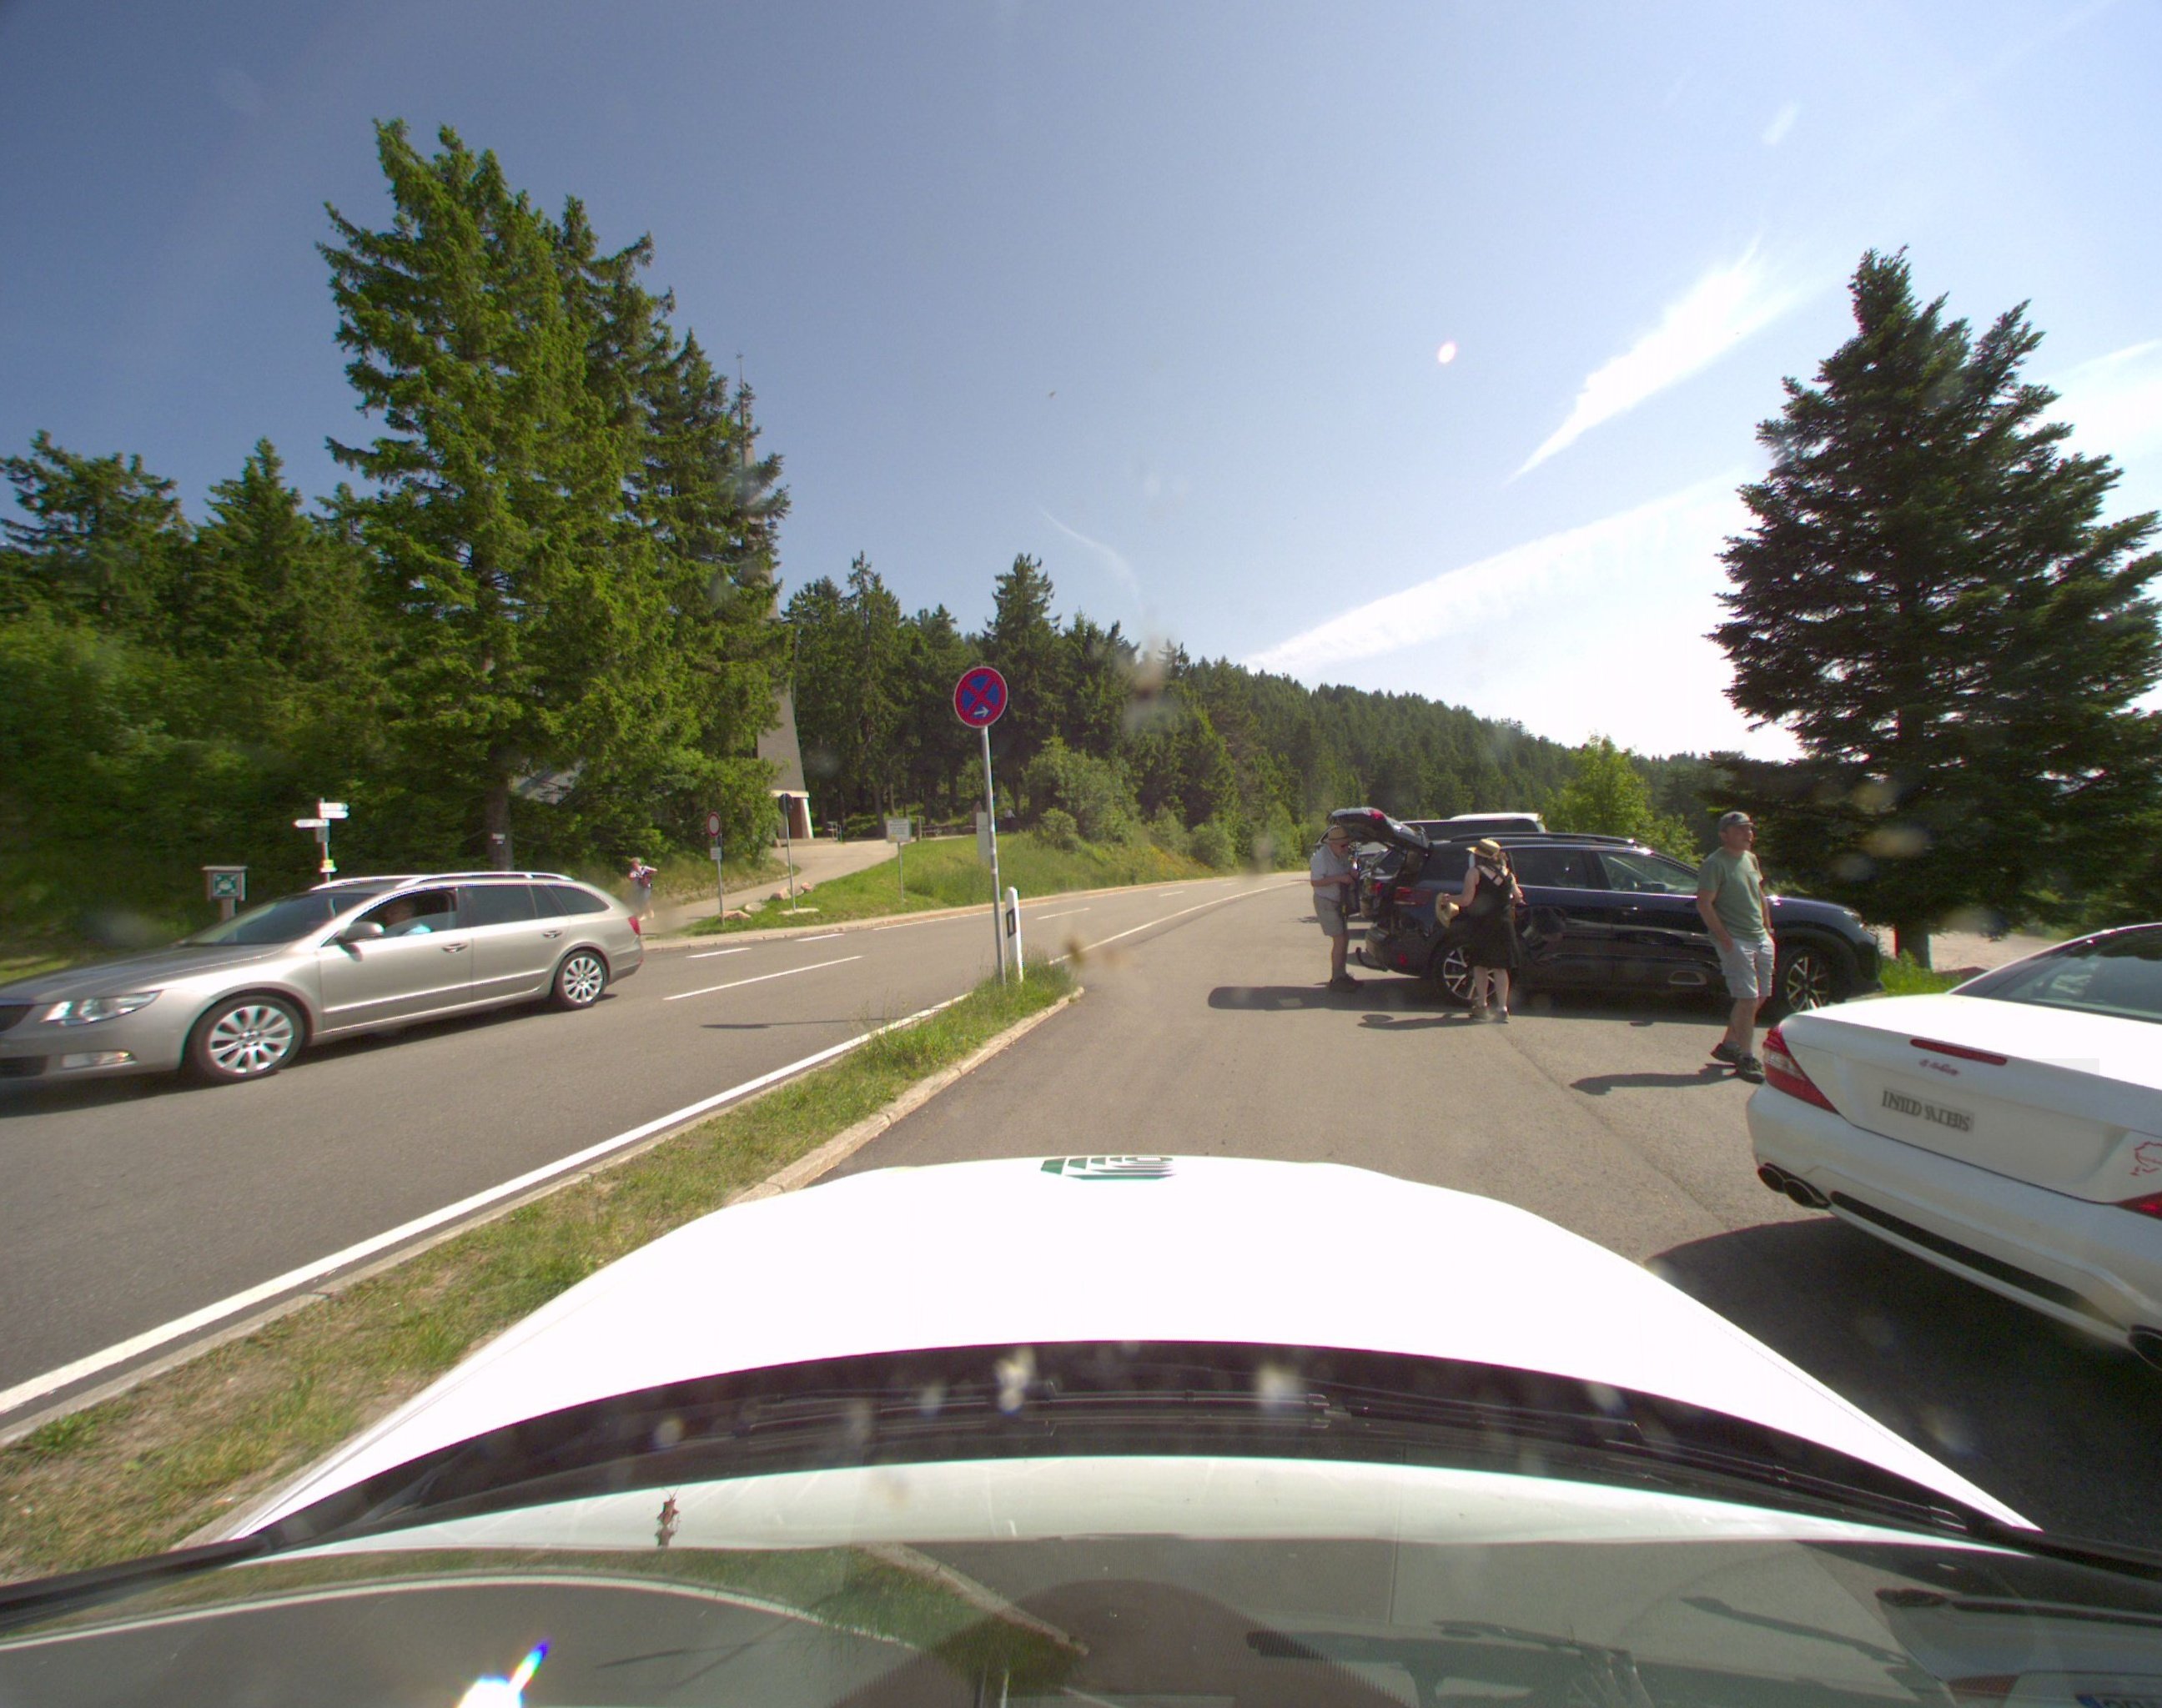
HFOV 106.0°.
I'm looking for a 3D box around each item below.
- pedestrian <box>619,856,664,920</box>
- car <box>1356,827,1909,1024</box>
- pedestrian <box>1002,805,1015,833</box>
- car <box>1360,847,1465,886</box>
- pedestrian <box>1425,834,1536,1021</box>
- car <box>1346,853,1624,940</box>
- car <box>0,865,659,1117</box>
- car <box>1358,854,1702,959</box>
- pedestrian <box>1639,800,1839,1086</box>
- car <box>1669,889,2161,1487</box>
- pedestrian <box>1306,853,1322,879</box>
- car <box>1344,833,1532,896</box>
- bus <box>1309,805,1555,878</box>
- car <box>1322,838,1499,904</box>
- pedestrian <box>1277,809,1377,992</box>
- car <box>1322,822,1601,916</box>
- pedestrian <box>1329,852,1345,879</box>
[{"bbox_3d":[-11.875,0.908,22.002,0.714,1.681,0.685,-3,-1,15],"label":"pedestrian"},{"bbox_3d":[5.180,0.605,8.339,4.314,1.626,1.876,1,-1,13],"label":"car"},{"bbox_3d":[-5.041,-2.432,56.458,0.544,1.878,0.674,-2,-1,-39],"label":"pedestrian"},{"bbox_3d":[14.025,0.522,34.687,3.954,1.449,1.870,-3,-1,18],"label":"car"},{"bbox_3d":[3.571,0.635,7.313,0.712,1.613,0.536,0,-1,-2],"label":"pedestrian"},{"bbox_3d":[6.817,0.680,14.181,4.054,1.376,1.708,0,0,12],"label":"car"},{"bbox_3d":[-6.522,0.893,7.516,1.865,1.474,4.734,-2,0,16],"label":"car"},{"bbox_3d":[6.274,0.685,11.832,4.057,1.376,1.707,0,0,9],"label":"car"},{"bbox_3d":[4.459,0.565,5.564,0.746,1.800,0.733,0,-1,-10],"label":"pedestrian"},{"bbox_3d":[4.646,0.823,2.630,4.390,1.296,1.753,0,1,-5],"label":"car"},{"bbox_3d":[14.130,0.725,49.414,0.763,1.585,0.777,-3,-1,25],"label":"pedestrian"},{"bbox_3d":[10.668,0.335,24.787,4.993,1.651,2.057,-3,-1,18],"label":"car"},{"bbox_3d":[20.601,-0.617,48.509,12.969,3.533,3.062,-3,-1,28],"label":"bus"},{"bbox_3d":[8.822,0.457,22.121,4.209,1.554,1.847,-3,-1,18],"label":"car"},{"bbox_3d":[2.669,0.456,8.833,0.762,1.870,0.728,-3,3,-41],"label":"pedestrian"},{"bbox_3d":[7.647,0.340,16.847,4.907,1.695,1.955,-2,-1,20],"label":"car"},{"bbox_3d":[15.349,0.690,48.770,0.763,1.585,0.777,-3,-1,25],"label":"pedestrian"}]
